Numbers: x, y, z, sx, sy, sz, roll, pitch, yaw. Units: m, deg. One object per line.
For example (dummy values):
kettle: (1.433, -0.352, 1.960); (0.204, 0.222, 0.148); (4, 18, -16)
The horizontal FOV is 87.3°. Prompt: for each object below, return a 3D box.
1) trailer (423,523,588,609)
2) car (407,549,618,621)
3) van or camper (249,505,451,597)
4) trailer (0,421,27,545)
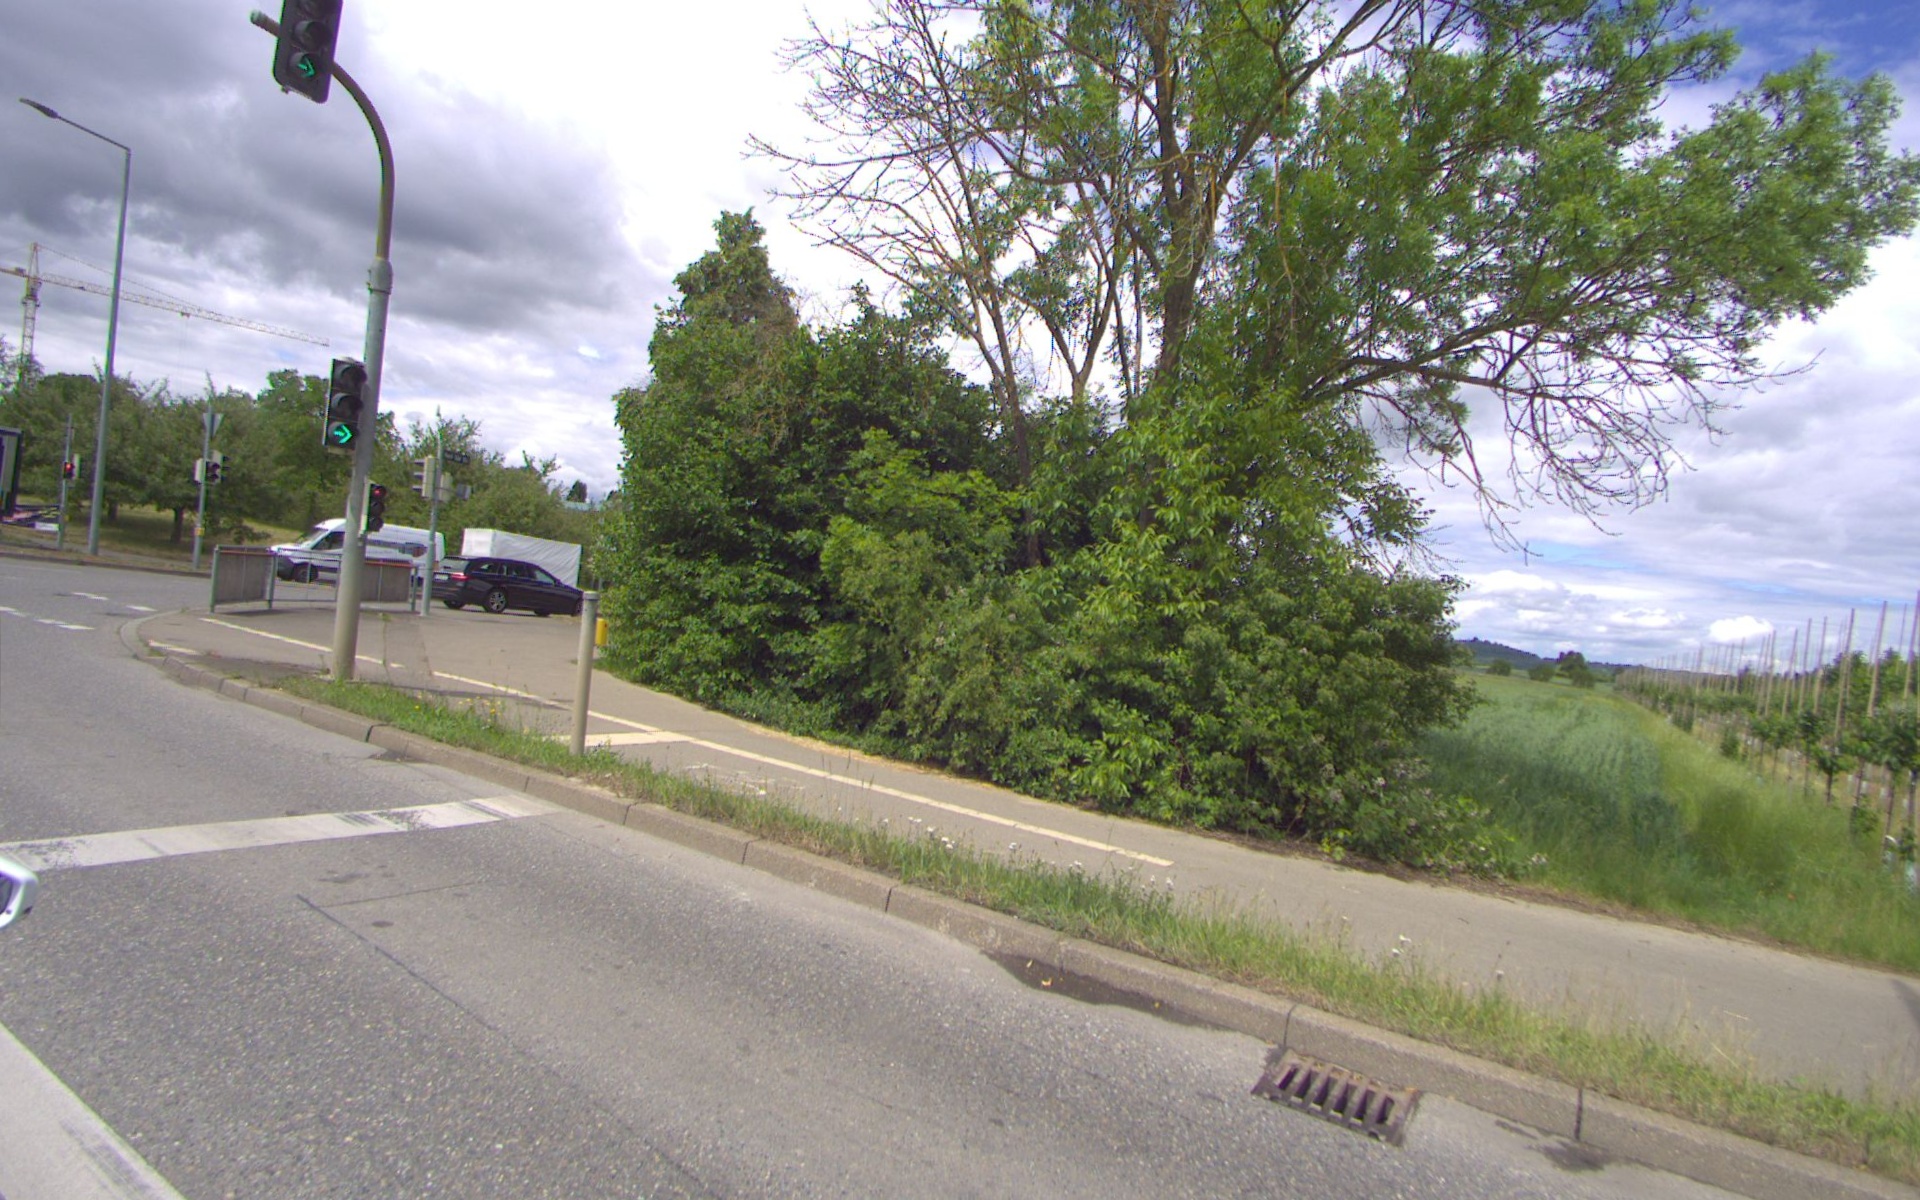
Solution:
trailer: (-18.974, -1.372, 42.279); (2.215, 2.841, 5.760); (7, 0, 40)
car: (-12.201, -0.353, 27.861); (1.846, 1.459, 5.191); (7, 0, 28)
van or camper: (-22.743, -1.779, 37.782); (2.217, 2.563, 5.912); (7, -1, 40)
trailer: (-29.852, -3.716, 26.287); (1.964, 3.499, 7.607); (7, -1, 25)
